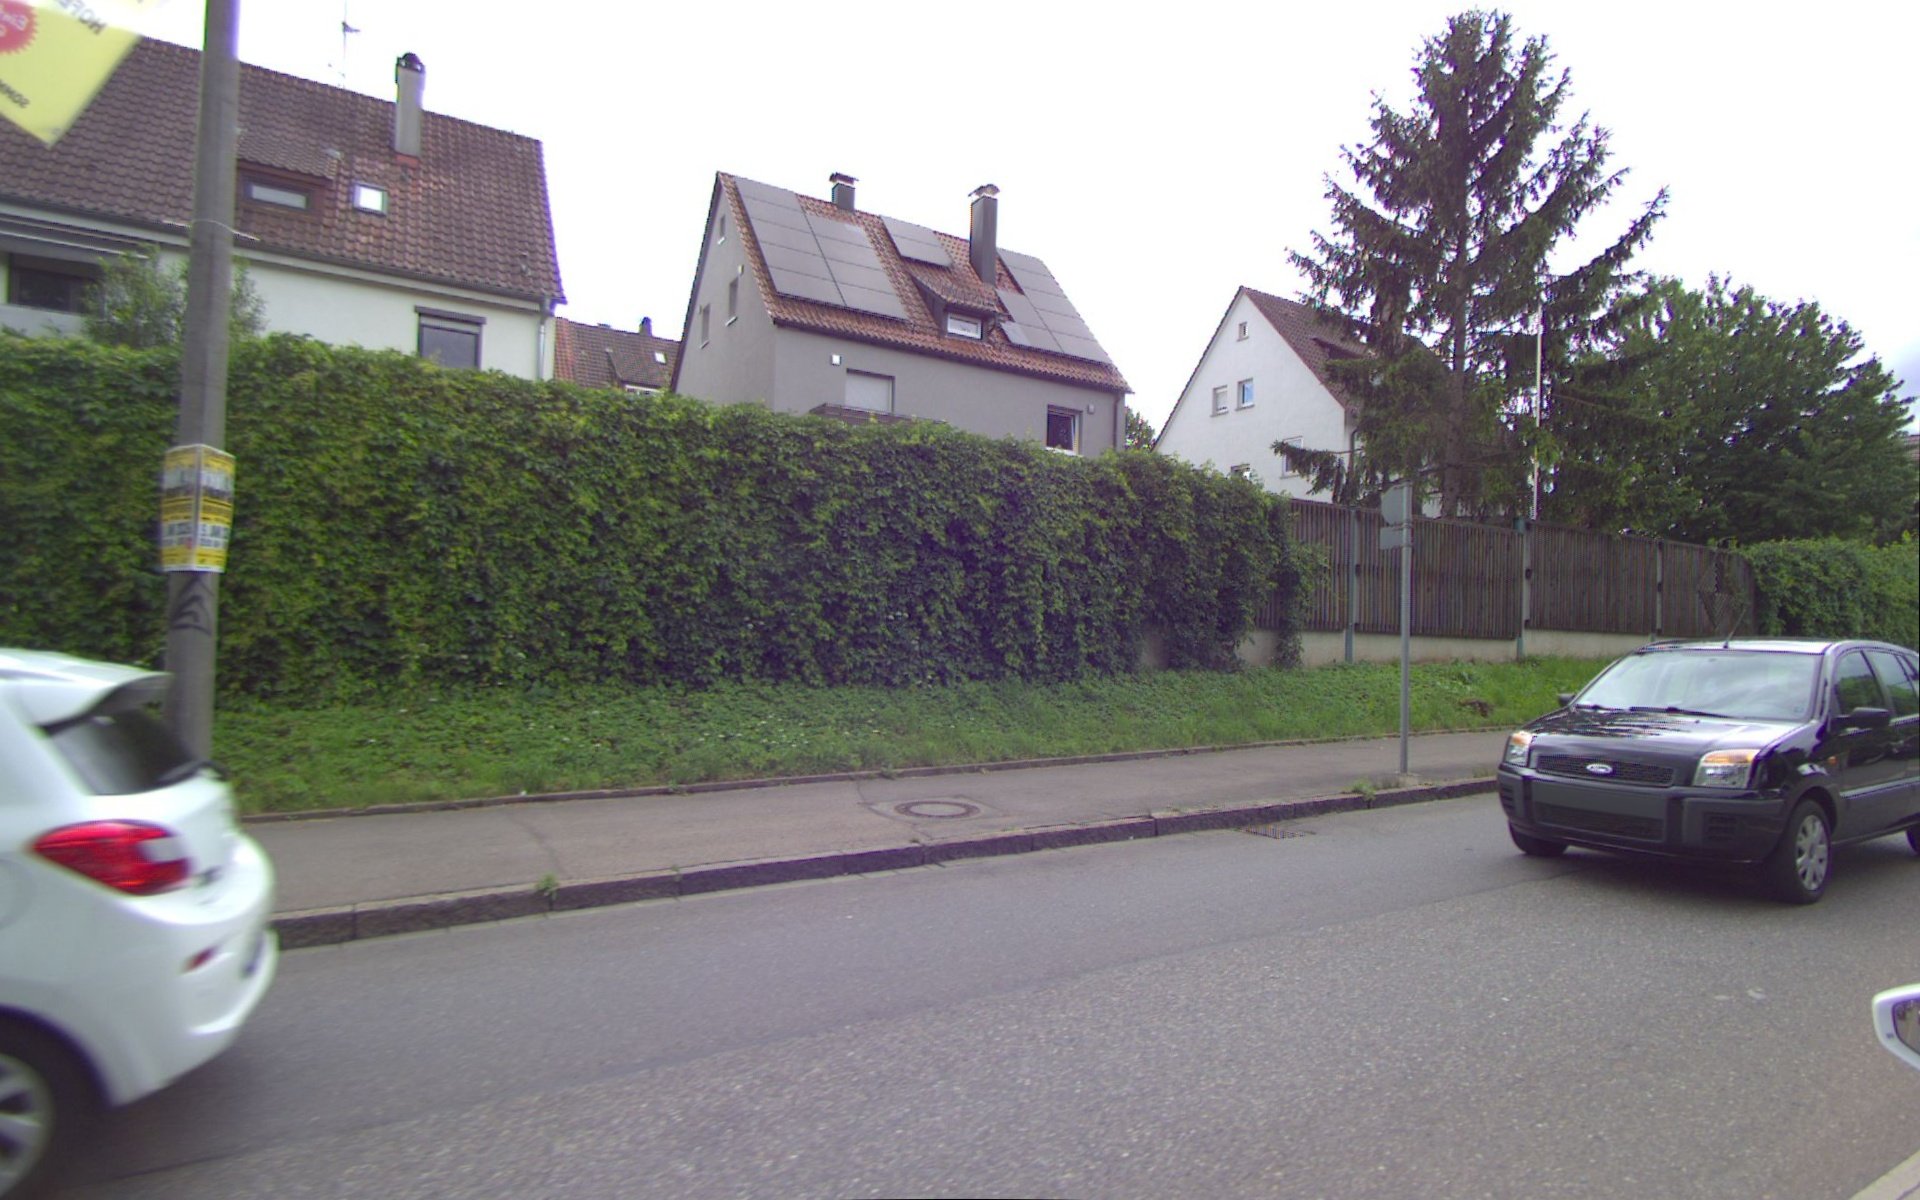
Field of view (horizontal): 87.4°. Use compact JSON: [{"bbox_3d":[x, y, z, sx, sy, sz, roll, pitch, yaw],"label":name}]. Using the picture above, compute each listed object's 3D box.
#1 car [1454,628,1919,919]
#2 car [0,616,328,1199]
[{"bbox_3d":[5.416,0.978,6.984,4.061,1.500,1.635,1,-3,-32],"label":"car"},{"bbox_3d":[-3.955,0.807,2.394,4.023,1.480,1.611,1,-5,-30],"label":"car"}]
